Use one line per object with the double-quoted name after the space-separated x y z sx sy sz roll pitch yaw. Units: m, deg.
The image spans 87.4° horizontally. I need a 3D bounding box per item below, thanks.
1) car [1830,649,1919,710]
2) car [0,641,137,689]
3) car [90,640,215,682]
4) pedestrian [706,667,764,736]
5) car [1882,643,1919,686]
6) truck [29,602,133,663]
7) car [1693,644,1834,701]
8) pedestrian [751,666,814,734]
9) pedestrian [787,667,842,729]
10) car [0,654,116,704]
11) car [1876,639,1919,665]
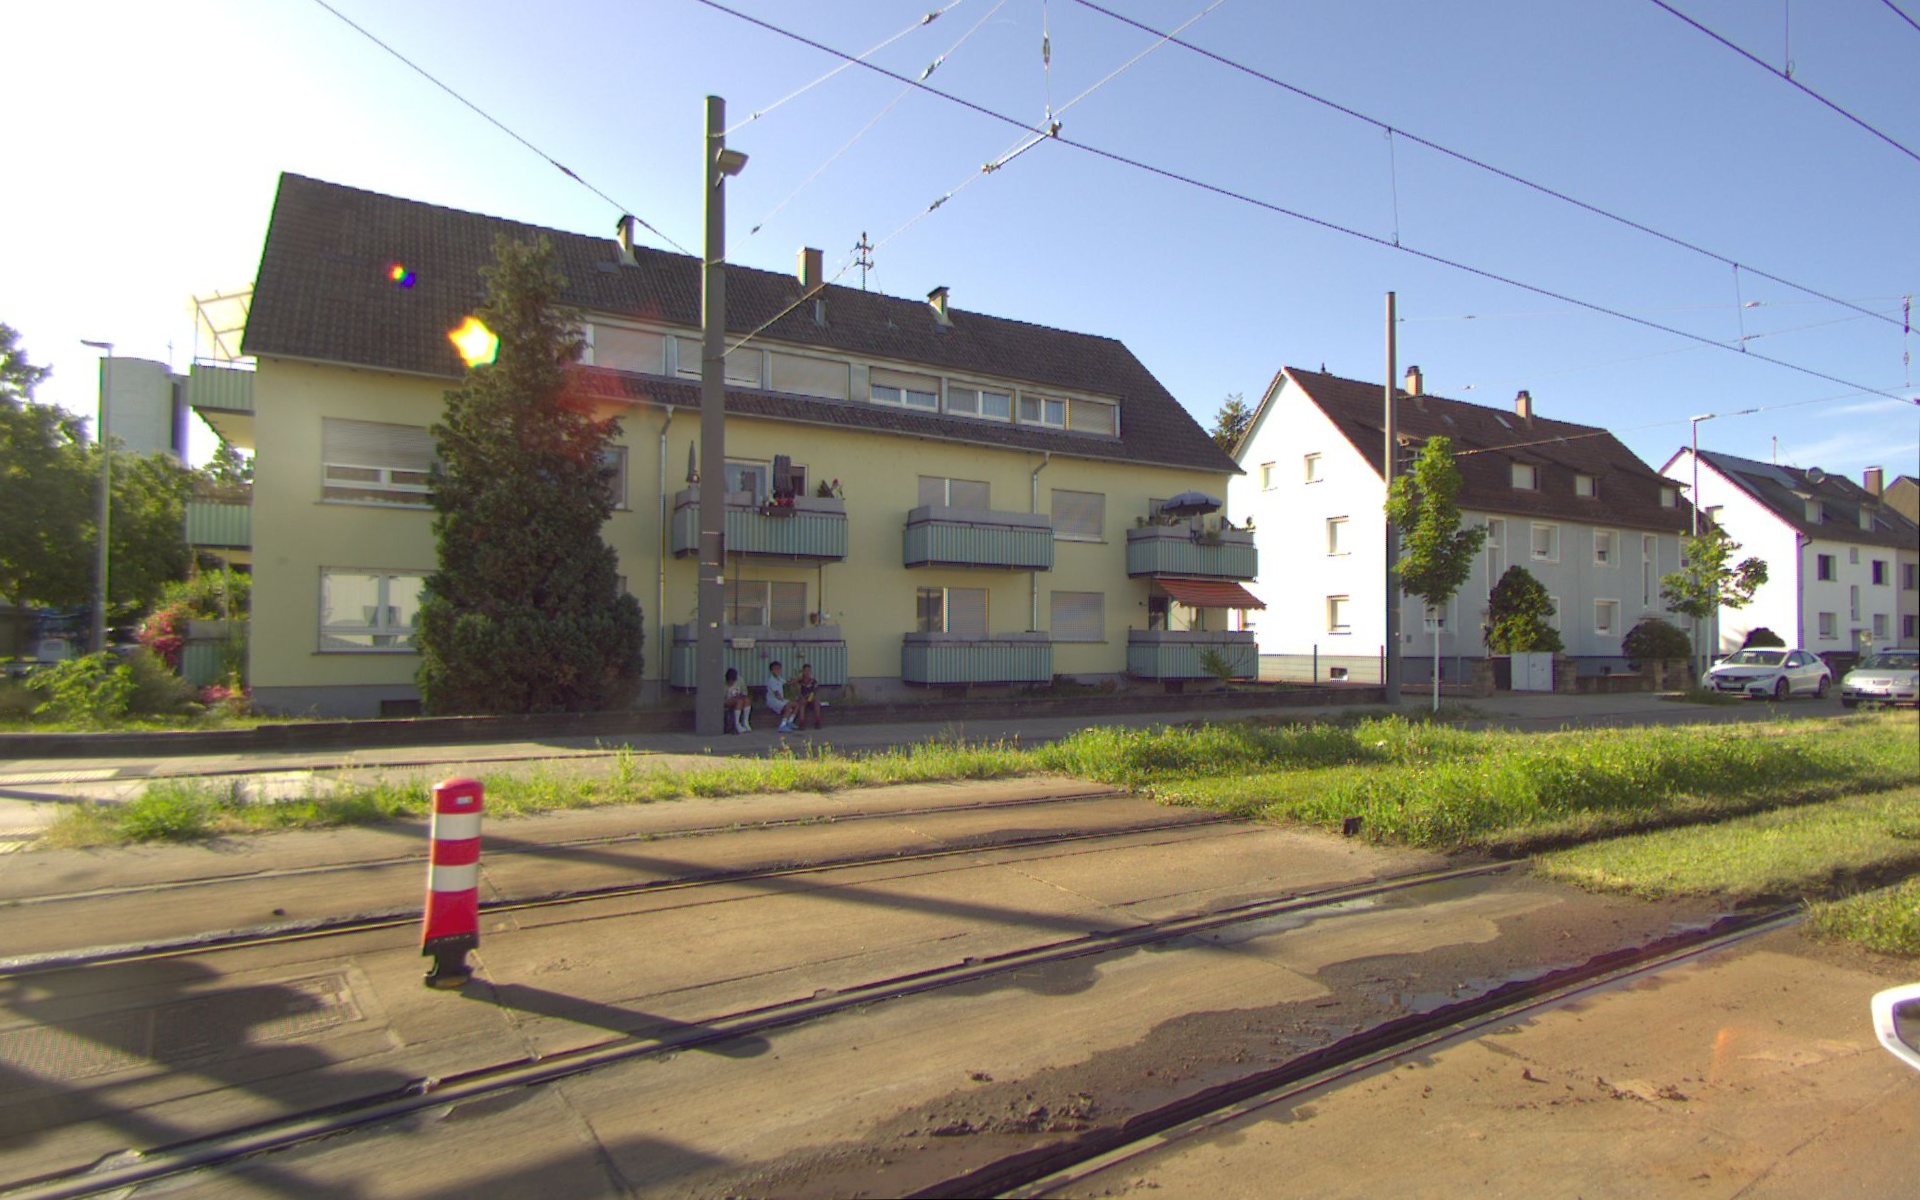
23.641 1.939 25.199 3.614 1.430 1.544 1 -3 -28 "car"
-31.203 2.256 35.014 3.477 1.553 1.569 3 -3 -22 "car"
-32.074 2.424 40.000 3.477 1.553 1.569 3 -3 -22 "car"
-3.671 1.636 16.393 0.680 1.060 0.813 2 -3 -32 "pedestrian"
35.008 2.288 35.892 4.115 1.482 1.783 1 -2 -28 "car"
-63.091 2.351 72.356 3.036 4.045 7.966 3 -3 -22 "truck"
23.114 2.047 28.880 4.162 1.537 1.686 1 -3 -28 "car"
-2.976 1.666 16.882 0.805 1.078 0.626 0 -3 28 "pedestrian"
-2.511 1.682 17.351 0.712 1.019 0.593 -1 -4 37 "pedestrian"
-30.550 2.604 33.335 3.477 1.553 1.569 3 -3 -22 "car"
62.661 3.367 65.349 1.832 1.676 4.146 1 -2 -25 "car"
